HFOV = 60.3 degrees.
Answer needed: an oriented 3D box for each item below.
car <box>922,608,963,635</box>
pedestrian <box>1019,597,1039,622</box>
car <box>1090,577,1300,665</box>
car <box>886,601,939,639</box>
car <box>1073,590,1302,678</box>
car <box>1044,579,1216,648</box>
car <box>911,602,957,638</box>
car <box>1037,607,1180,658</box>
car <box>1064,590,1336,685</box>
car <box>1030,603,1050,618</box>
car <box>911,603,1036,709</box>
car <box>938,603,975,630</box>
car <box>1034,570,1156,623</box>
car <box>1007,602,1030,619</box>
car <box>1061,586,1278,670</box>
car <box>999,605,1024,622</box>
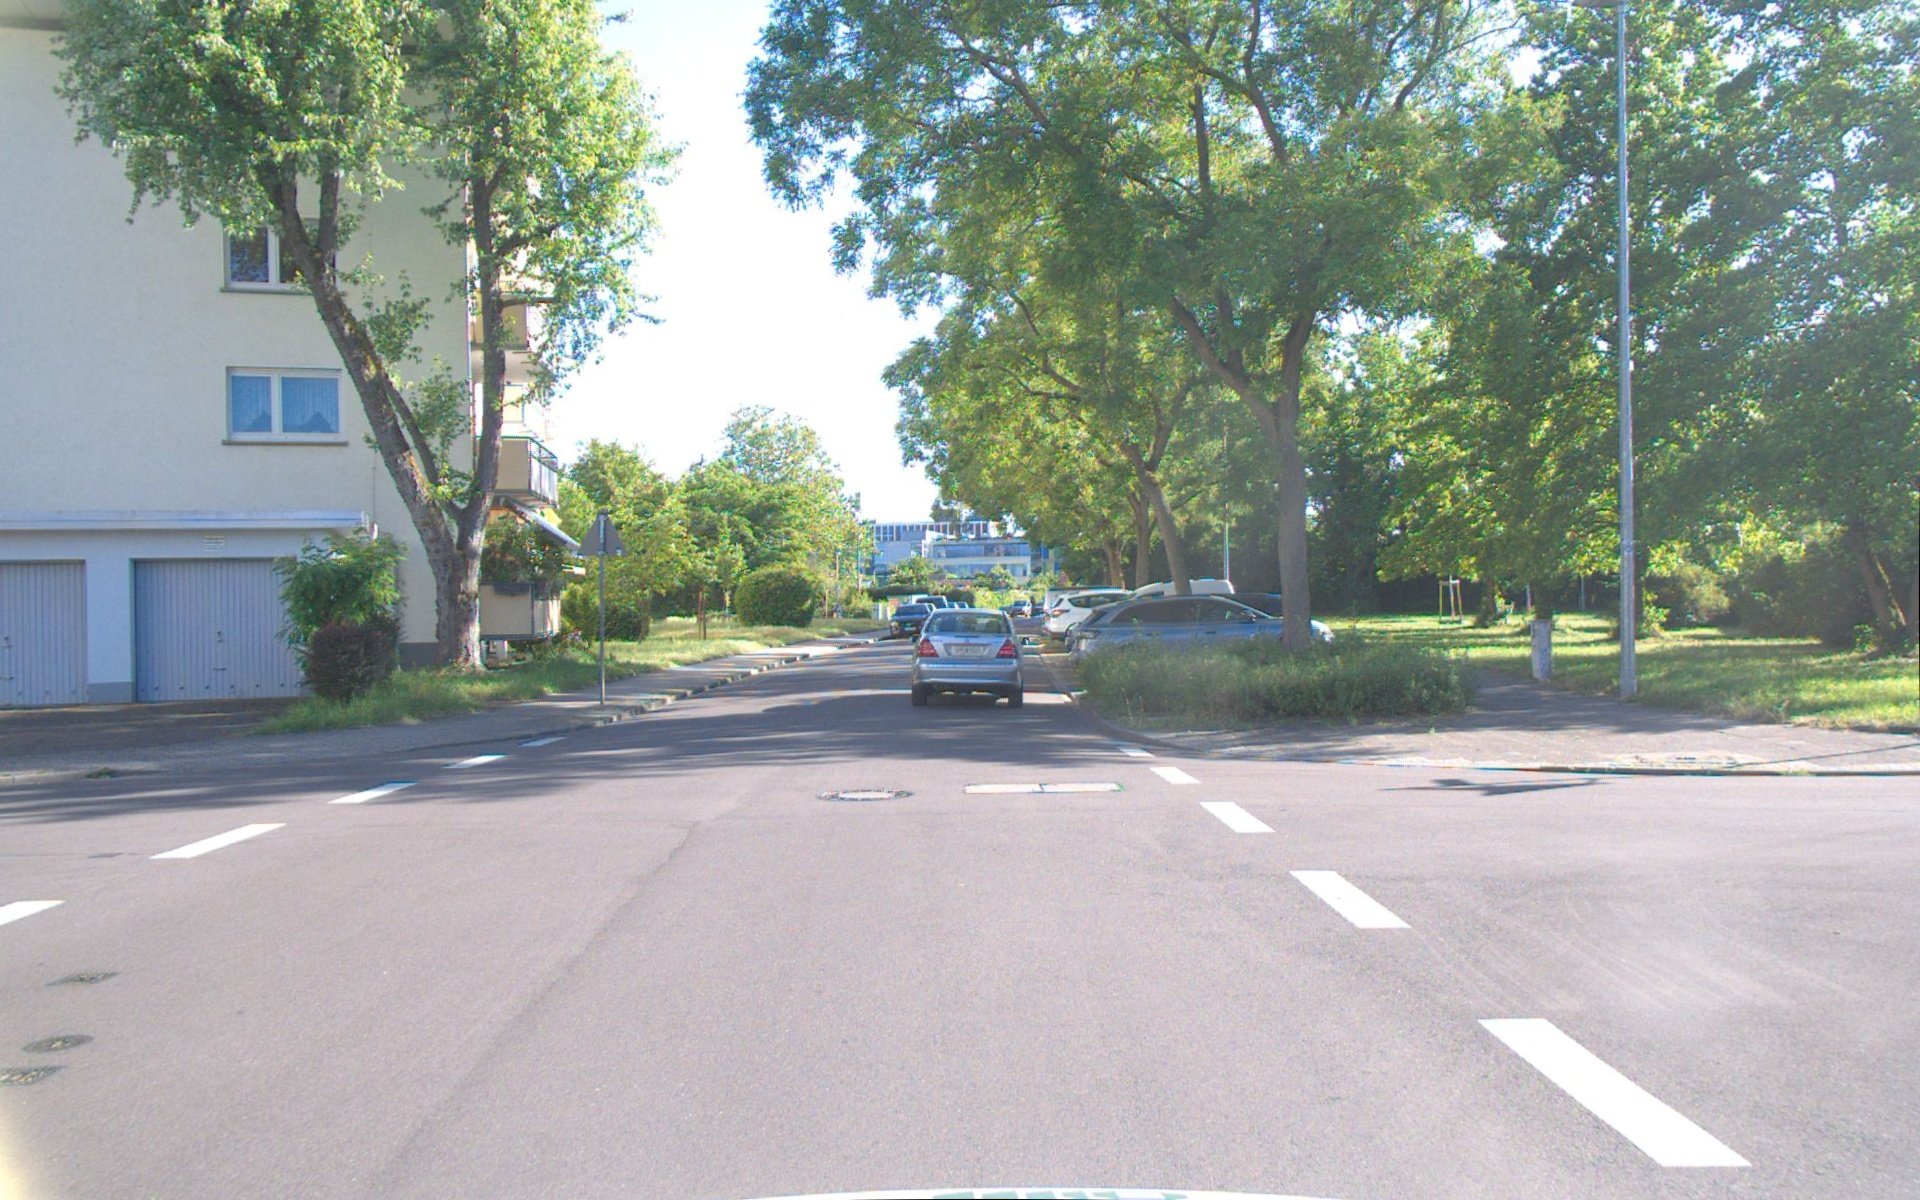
[{"bbox_3d":[-0.943,1.190,91.696,1.713,1.353,3.453,-4,0,7],"label":"car"},{"bbox_3d":[6.117,0.833,146.316,1.540,2.125,1.725,-1,0,10],"label":"pedestrian"},{"bbox_3d":[5.811,0.499,41.217,4.790,1.957,1.998,-2,0,-6],"label":"car"},{"bbox_3d":[-2.072,0.850,73.080,1.873,1.516,3.839,-4,0,4],"label":"car"},{"bbox_3d":[4.463,0.656,32.945,4.335,1.599,1.738,-1,0,2],"label":"car"},{"bbox_3d":[4.873,0.379,48.000,4.783,1.753,2.001,-2,0,2],"label":"car"},{"bbox_3d":[-1.298,0.991,85.131,1.713,1.718,4.267,-2,0,8],"label":"car"},{"bbox_3d":[5.191,1.131,58.221,4.785,1.656,1.999,-1,0,-2],"label":"car"},{"bbox_3d":[4.345,0.670,30.465,4.685,1.576,2.011,-1,0,-1],"label":"car"},{"bbox_3d":[8.430,1.110,174.019,1.853,1.529,3.659,-1,0,7],"label":"car"},{"bbox_3d":[0.142,0.813,25.053,1.698,1.459,3.436,-1,-1,-3],"label":"car"},{"bbox_3d":[-0.168,0.961,98.239,1.713,1.547,4.196,-2,0,6],"label":"car"},{"bbox_3d":[5.742,-0.148,70.596,5.108,2.095,2.001,-1,0,3],"label":"car"},{"bbox_3d":[5.543,0.973,156.467,1.853,1.529,3.659,-1,0,7],"label":"car"},{"bbox_3d":[4.465,0.587,35.714,4.354,1.544,2.000,-3,0,-1],"label":"car"},{"bbox_3d":[4.656,1.196,148.215,1.853,1.529,3.659,-1,0,7],"label":"car"}]
